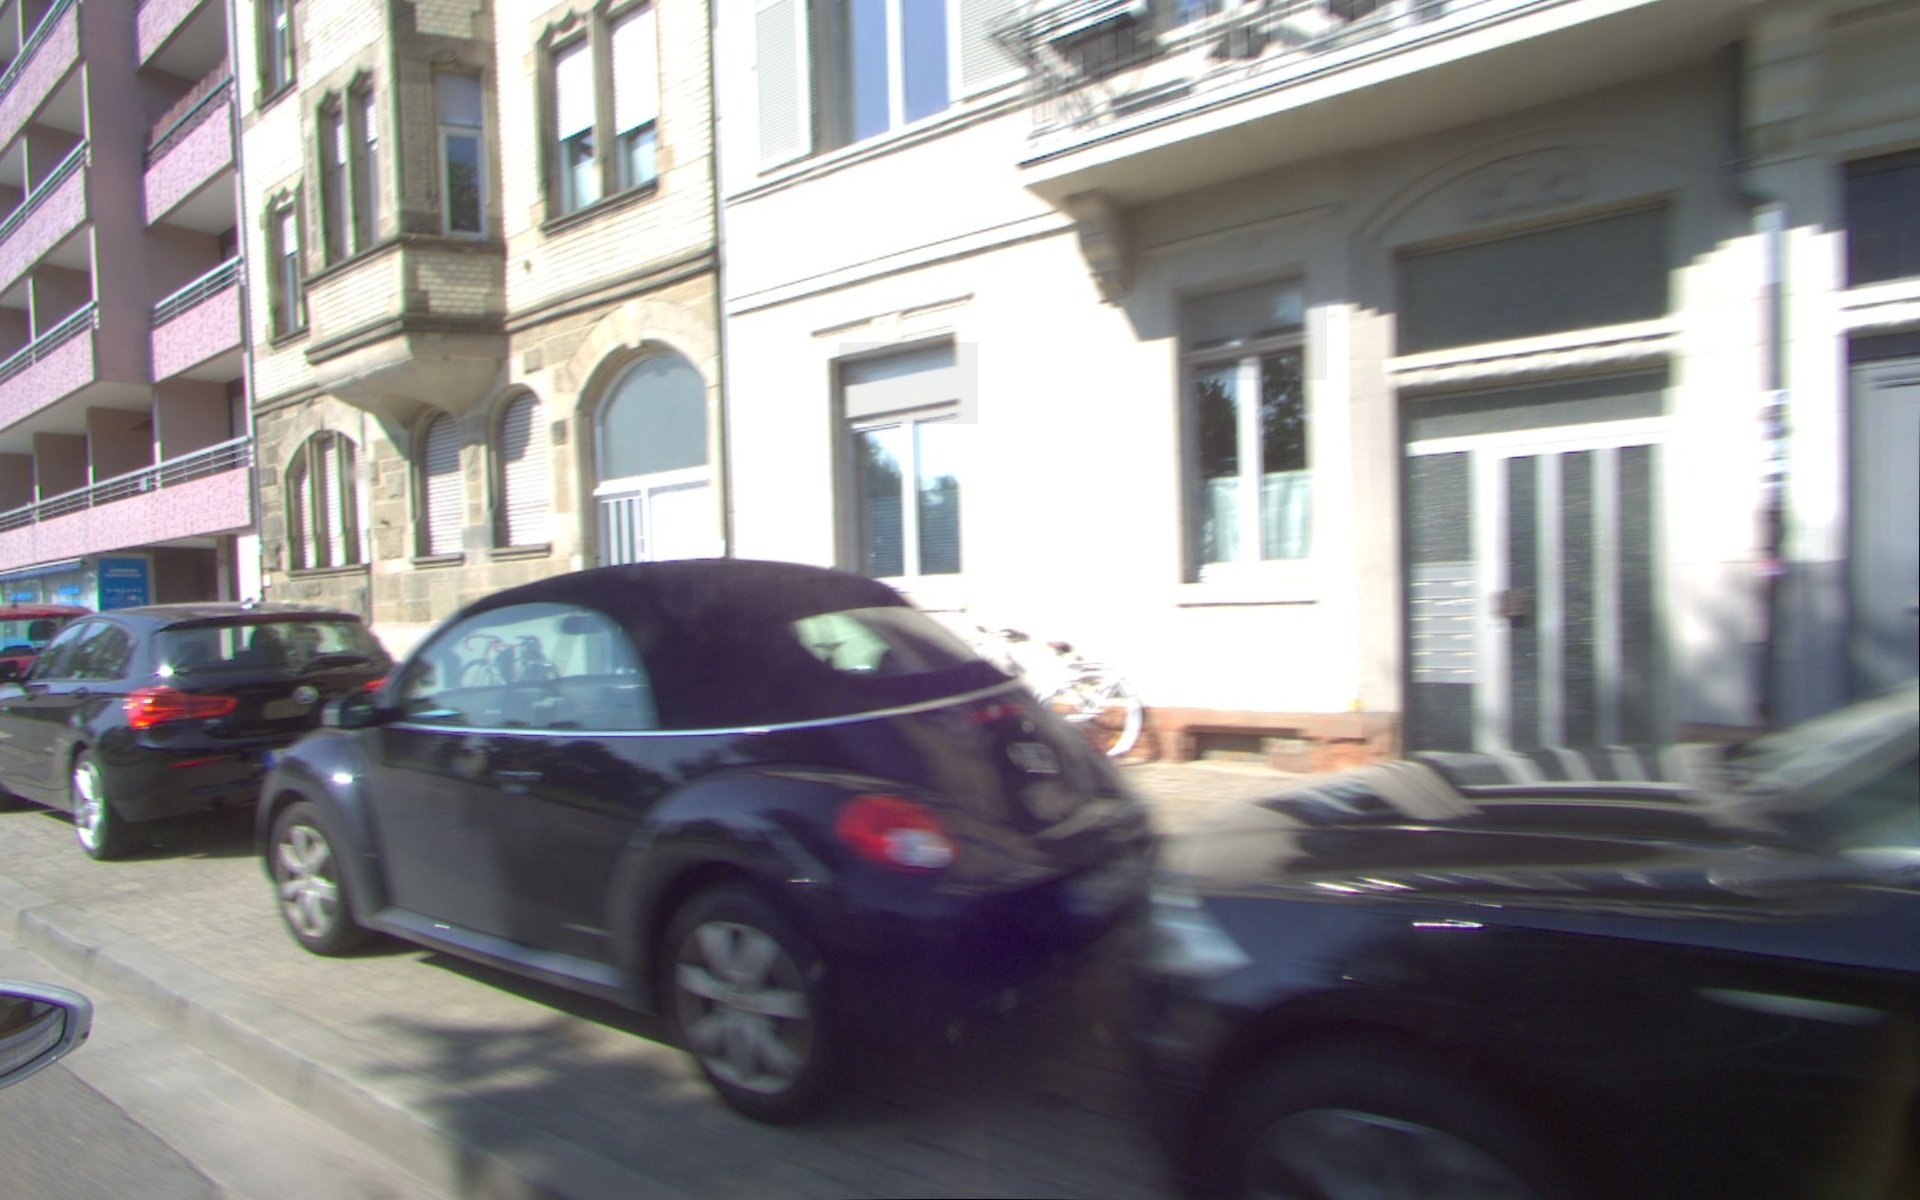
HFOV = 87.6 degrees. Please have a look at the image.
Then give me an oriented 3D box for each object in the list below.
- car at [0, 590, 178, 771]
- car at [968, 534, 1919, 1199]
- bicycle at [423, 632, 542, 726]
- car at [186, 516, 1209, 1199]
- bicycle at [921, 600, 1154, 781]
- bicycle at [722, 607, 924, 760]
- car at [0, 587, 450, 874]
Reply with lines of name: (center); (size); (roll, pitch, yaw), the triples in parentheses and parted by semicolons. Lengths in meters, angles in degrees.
car: (-9.555, 0.728, 9.890); (3.947, 1.502, 1.779); (-1, 1, 35)
car: (2.159, 0.616, 1.539); (4.027, 1.435, 1.735); (-1, 0, 36)
bicycle: (-5.439, 0.863, 11.372); (1.631, 0.983, 0.506); (-1, 1, 37)
car: (-1.229, 0.604, 3.928); (3.955, 1.521, 1.637); (-1, 1, 34)
bicycle: (0.546, 0.620, 7.337); (1.603, 1.196, 0.564); (-1, 1, 32)
bicycle: (-1.165, 0.663, 8.431); (1.603, 1.162, 0.653); (-1, 2, 32)
car: (-5.446, 0.708, 7.017); (4.072, 1.472, 1.636); (-1, 0, 36)
